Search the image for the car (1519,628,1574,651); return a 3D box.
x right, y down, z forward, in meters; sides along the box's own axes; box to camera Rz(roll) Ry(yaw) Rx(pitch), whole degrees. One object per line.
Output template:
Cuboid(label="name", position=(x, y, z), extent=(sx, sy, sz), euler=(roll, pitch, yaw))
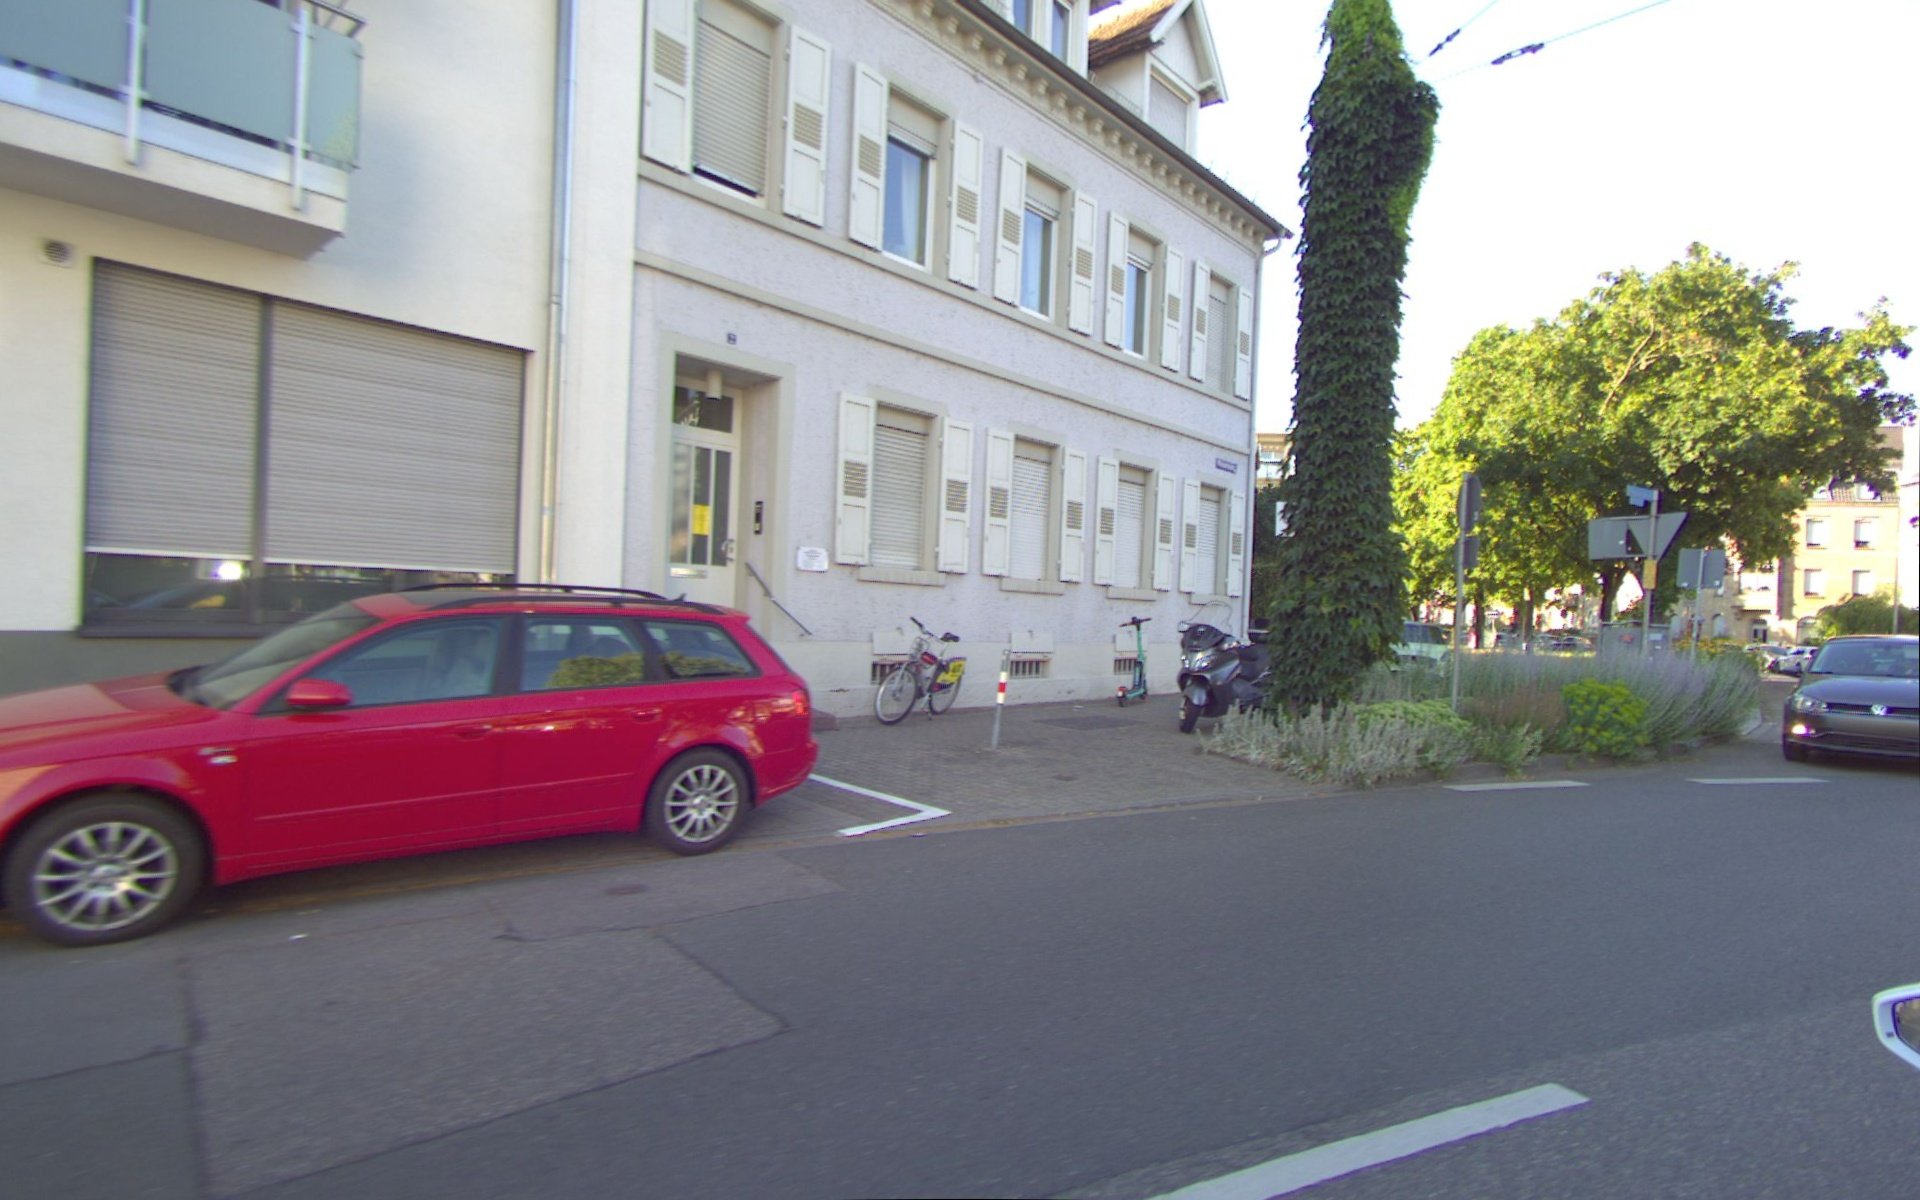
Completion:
Cuboid(label="car", position=(49.407, 3.280, 84.723), extent=(2.300, 1.617, 4.932), euler=(3, 0, 10))

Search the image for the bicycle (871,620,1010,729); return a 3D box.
Cuboid(label="bicycle", position=(-0.180, 0.815, 11.536), extent=(0.569, 1.124, 1.865), euler=(3, 0, 35))

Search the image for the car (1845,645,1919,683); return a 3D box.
Cuboid(label="car", position=(35.532, 2.436, 38.673), extent=(1.633, 1.253, 3.787), euler=(3, 0, 33))

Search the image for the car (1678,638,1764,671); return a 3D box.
Cuboid(label="car", position=(44.648, 3.158, 59.084), extent=(2.300, 1.617, 4.931), euler=(3, 0, 16))

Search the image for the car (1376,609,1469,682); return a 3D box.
Cuboid(label="car", position=(11.351, 1.058, 24.868), extent=(1.778, 1.557, 3.909), euler=(3, 0, 21))

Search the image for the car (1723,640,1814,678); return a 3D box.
Cuboid(label="car", position=(42.902, 3.089, 53.476), extent=(2.302, 1.617, 4.928), euler=(3, 0, 21))

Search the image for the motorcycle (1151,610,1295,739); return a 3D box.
Cuboid(label="motorcycle", position=(3.292, 0.851, 12.340), extent=(0.918, 1.375, 2.558), euler=(3, 0, 33))

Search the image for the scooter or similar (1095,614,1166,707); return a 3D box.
Cuboid(label="scooter or similar", position=(2.482, 0.840, 14.487), extent=(0.500, 1.245, 1.539), euler=(3, 0, 27))

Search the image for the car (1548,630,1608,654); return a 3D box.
Cuboid(label="car", position=(48.642, 3.280, 79.161), extent=(2.300, 1.617, 4.932), euler=(3, 0, 10))

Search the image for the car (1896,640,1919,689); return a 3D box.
Cuboid(label="car", position=(33.655, 2.253, 34.153), extent=(1.966, 1.617, 3.989), euler=(3, 0, 33))

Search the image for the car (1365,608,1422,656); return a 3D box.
Cuboid(label="car", position=(17.440, 1.253, 40.510), extent=(1.904, 1.685, 4.508), euler=(3, 0, 22))

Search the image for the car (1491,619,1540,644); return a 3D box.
Cuboid(label="car", position=(50.459, 2.831, 91.375), extent=(2.300, 2.068, 4.932), euler=(3, 0, 10))

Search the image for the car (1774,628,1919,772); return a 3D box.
Cuboid(label="car", position=(10.701, 1.055, 11.535), extent=(3.713, 1.422, 1.696), euler=(2, -2, -44))

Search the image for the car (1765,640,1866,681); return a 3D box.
Cuboid(label="car", position=(41.023, 2.844, 48.347), extent=(2.303, 1.617, 4.926), euler=(3, 0, 24))

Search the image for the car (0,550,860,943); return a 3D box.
Cuboid(label="car", position=(-2.953, 0.576, 5.596), extent=(4.553, 1.486, 1.695), euler=(1, 3, -39))
